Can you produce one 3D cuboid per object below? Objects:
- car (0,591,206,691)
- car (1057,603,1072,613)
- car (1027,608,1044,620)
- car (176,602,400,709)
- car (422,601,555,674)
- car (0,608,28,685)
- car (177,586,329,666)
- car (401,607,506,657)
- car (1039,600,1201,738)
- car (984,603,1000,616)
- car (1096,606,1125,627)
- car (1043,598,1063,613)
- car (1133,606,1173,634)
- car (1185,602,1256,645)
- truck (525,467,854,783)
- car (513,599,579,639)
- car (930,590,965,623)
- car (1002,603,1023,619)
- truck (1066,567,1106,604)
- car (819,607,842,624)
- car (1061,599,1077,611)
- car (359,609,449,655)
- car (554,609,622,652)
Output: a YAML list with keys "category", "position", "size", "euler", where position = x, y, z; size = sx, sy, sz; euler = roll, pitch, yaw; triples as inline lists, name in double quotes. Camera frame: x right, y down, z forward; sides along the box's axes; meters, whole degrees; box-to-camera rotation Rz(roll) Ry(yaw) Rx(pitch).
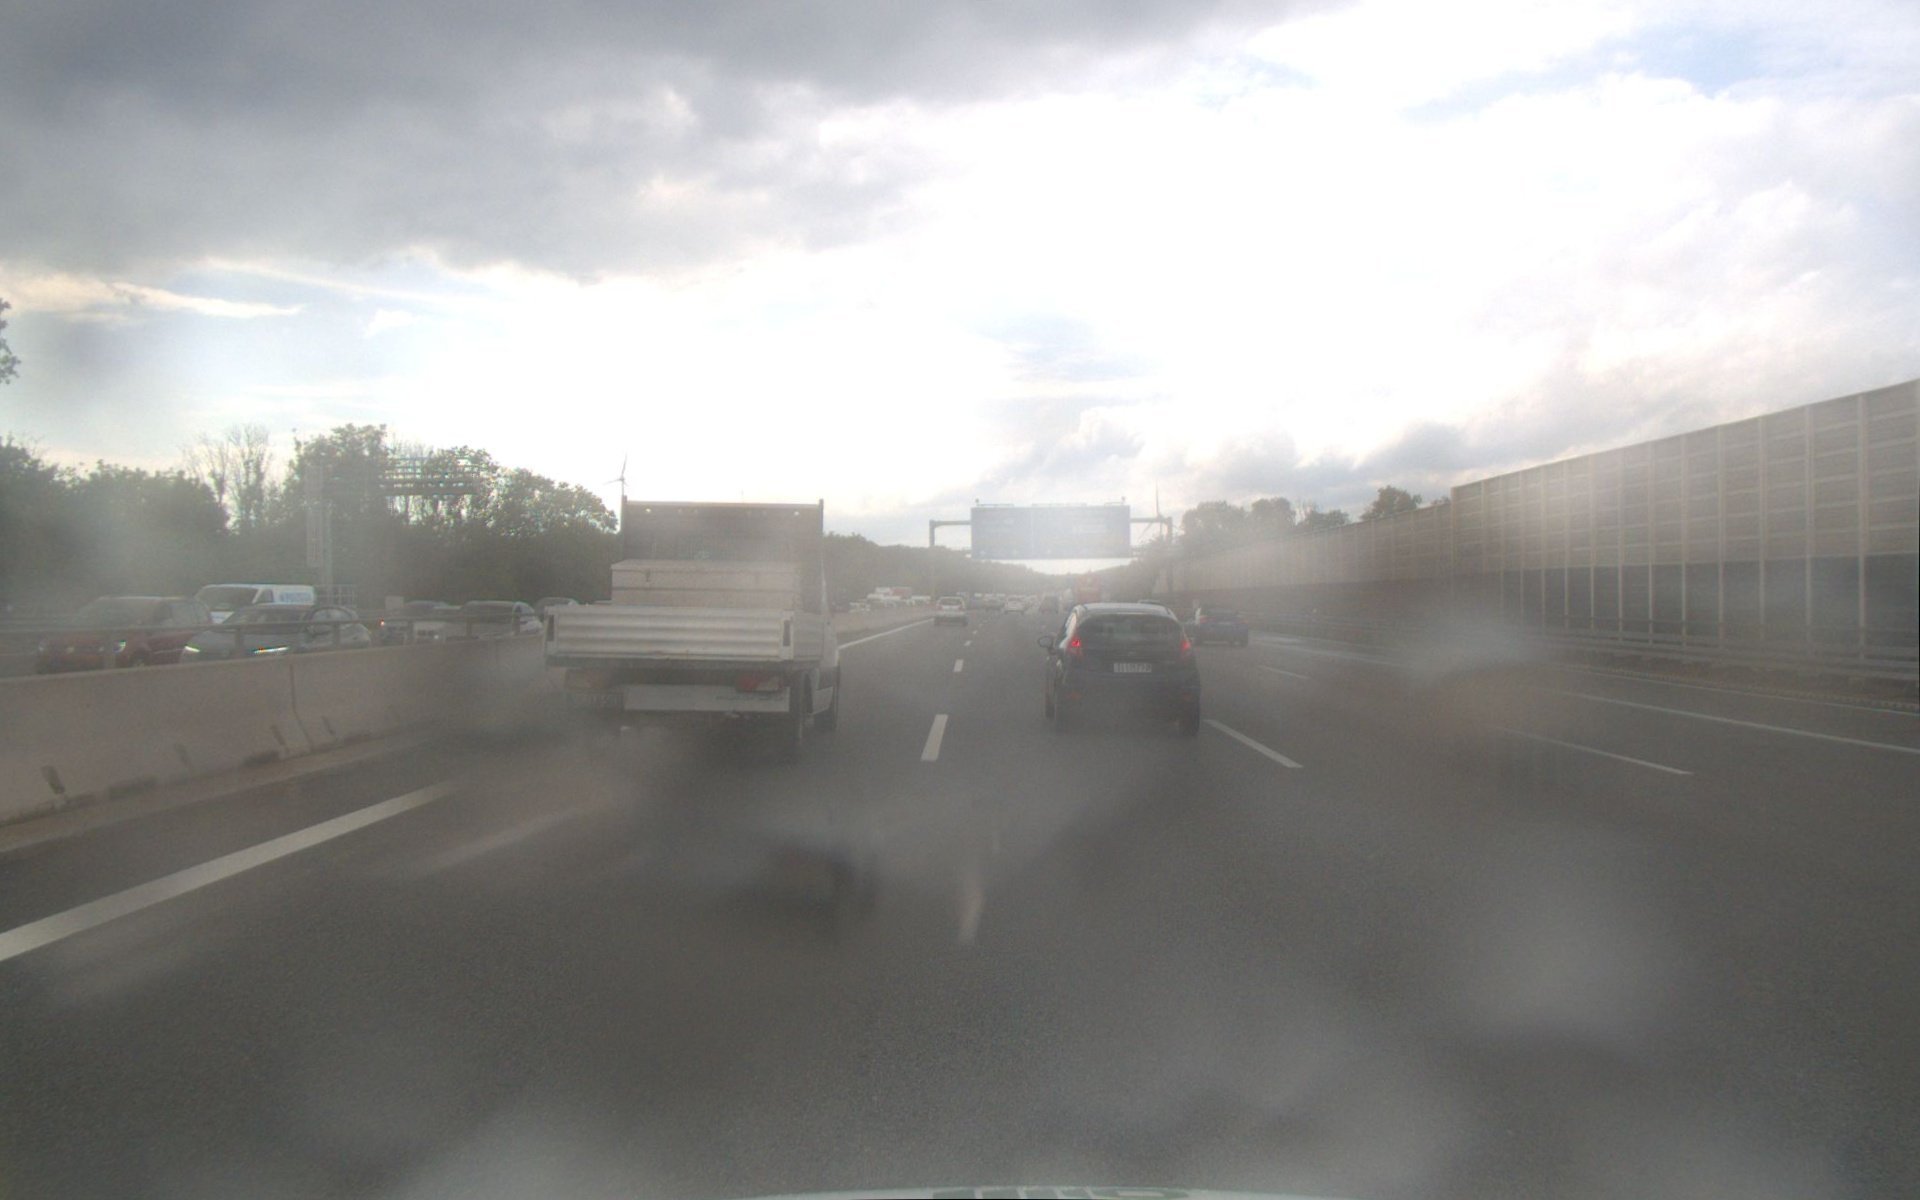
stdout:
- category: "car"
  position: [-15.939, 0.722, 30.628]
  size: [1.687, 1.674, 4.520]
  euler: [2, 0, 2]
- category: "car"
  position: [15.872, 1.248, 251.438]
  size: [1.927, 1.588, 4.432]
  euler: [0, 0, 0]
- category: "car"
  position: [9.496, 1.762, 208.303]
  size: [1.928, 1.588, 4.432]
  euler: [0, 0, -1]
- category: "car"
  position: [-11.673, 0.910, 29.137]
  size: [1.687, 1.674, 5.063]
  euler: [2, 0, 2]
- category: "car"
  position: [-11.655, 0.898, 41.240]
  size: [1.687, 1.674, 5.063]
  euler: [2, 0, 2]
- category: "car"
  position: [-19.499, 0.878, 30.437]
  size: [1.687, 1.481, 5.020]
  euler: [2, 0, 2]
- category: "car"
  position: [-18.956, 0.674, 44.646]
  size: [1.653, 1.970, 5.548]
  euler: [2, 0, 0]
- category: "car"
  position: [-15.651, 0.960, 51.324]
  size: [1.687, 1.440, 4.520]
  euler: [2, 0, 2]
- category: "car"
  position: [1.827, 0.743, 19.999]
  size: [1.681, 1.441, 4.279]
  euler: [0, 0, 2]
- category: "car"
  position: [4.019, 1.169, 206.546]
  size: [1.927, 1.588, 4.433]
  euler: [0, 0, 0]
- category: "car"
  position: [11.625, 1.292, 127.698]
  size: [1.844, 1.588, 4.433]
  euler: [0, 0, 0]
- category: "car"
  position: [10.472, 0.608, 186.075]
  size: [1.927, 1.588, 4.432]
  euler: [0, 0, 0]
- category: "car"
  position: [10.970, 1.129, 94.454]
  size: [1.844, 1.569, 4.433]
  euler: [0, 0, 1]
- category: "car"
  position: [9.089, 0.806, 58.002]
  size: [1.909, 1.443, 4.232]
  euler: [0, 0, 1]
- category: "truck"
  position: [-2.382, 0.159, 16.738]
  size: [2.260, 2.482, 7.147]
  euler: [1, 1, -1]
- category: "car"
  position: [-18.704, 0.853, 74.880]
  size: [1.687, 1.674, 4.520]
  euler: [2, 0, 2]
- category: "car"
  position: [-0.625, 0.336, 87.572]
  size: [1.681, 1.652, 4.280]
  euler: [0, 1, 2]
- category: "car"
  position: [5.215, 1.096, 164.917]
  size: [1.927, 1.588, 4.433]
  euler: [0, 0, 0]
- category: "truck"
  position: [13.002, -1.528, 171.685]
  size: [3.088, 3.664, 12.699]
  euler: [1, 0, 0]
- category: "car"
  position: [-12.494, 1.497, 159.537]
  size: [1.687, 1.631, 4.645]
  euler: [2, 0, 2]
- category: "car"
  position: [14.926, 0.697, 227.371]
  size: [1.927, 1.588, 4.432]
  euler: [0, 0, 0]
- category: "car"
  position: [-19.208, 1.090, 57.312]
  size: [1.687, 1.504, 3.960]
  euler: [2, 0, 1]
- category: "car"
  position: [-15.592, 1.262, 69.526]
  size: [1.687, 1.674, 4.520]
  euler: [2, 0, 2]
